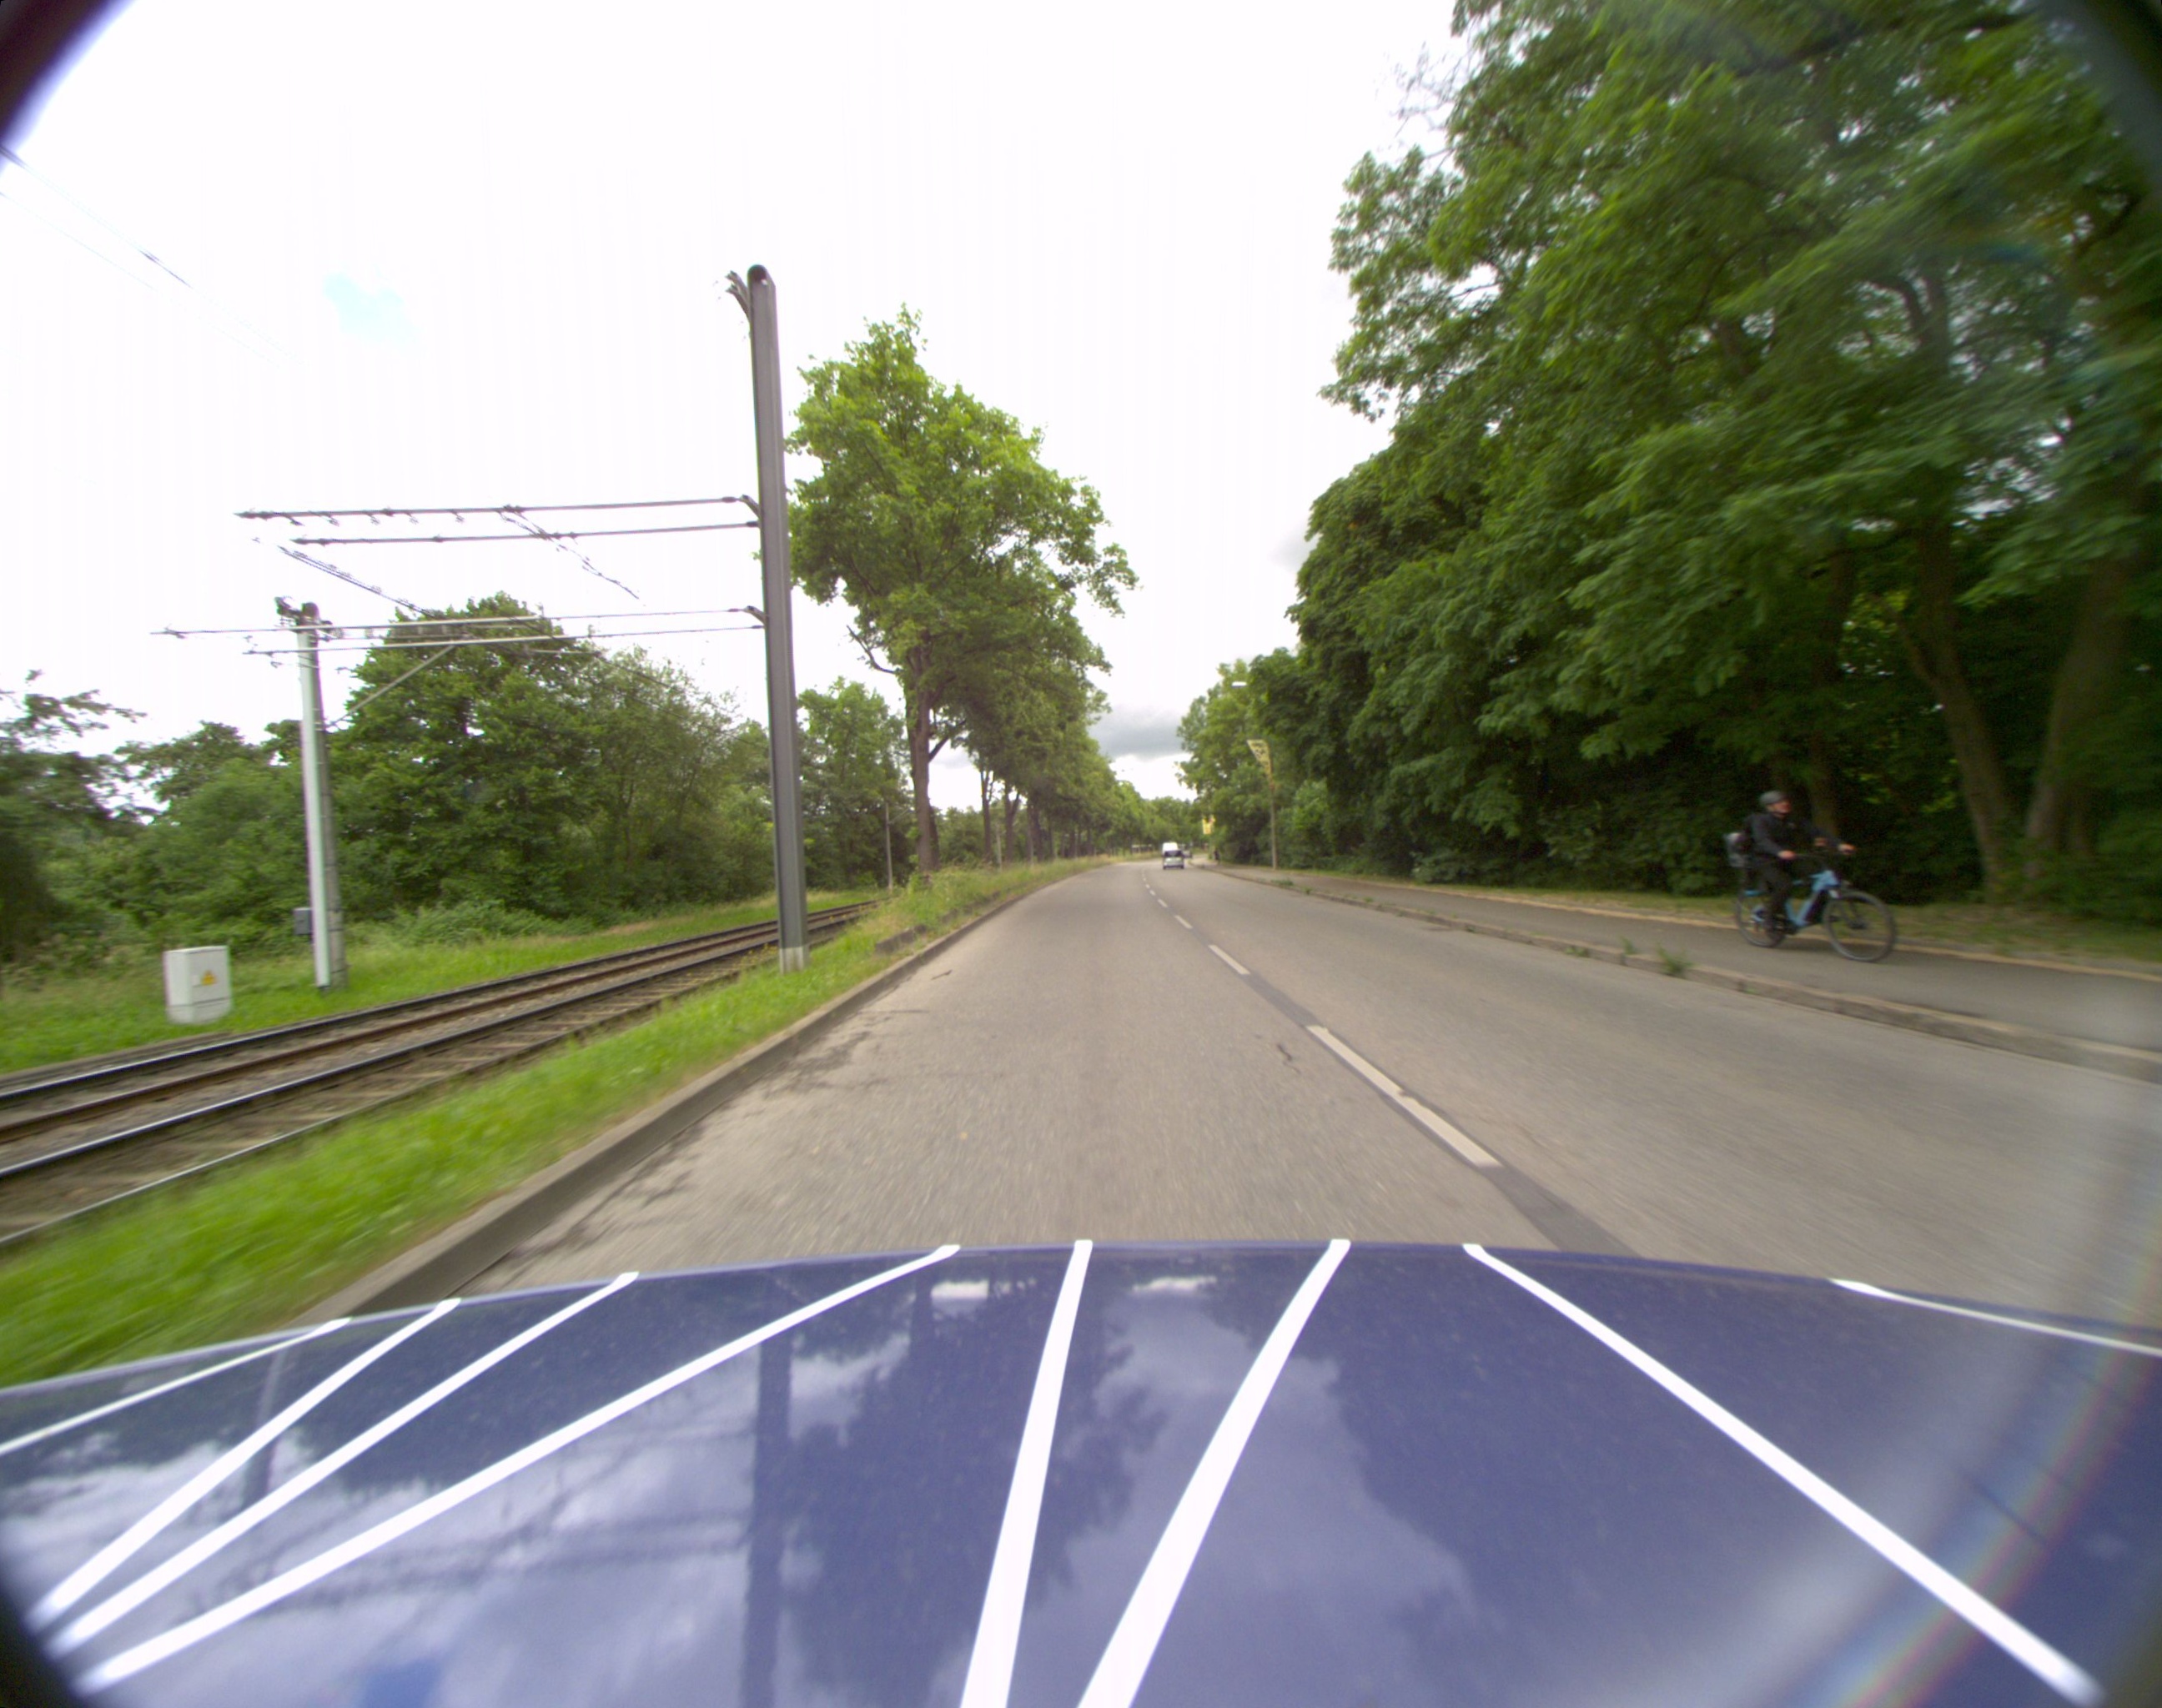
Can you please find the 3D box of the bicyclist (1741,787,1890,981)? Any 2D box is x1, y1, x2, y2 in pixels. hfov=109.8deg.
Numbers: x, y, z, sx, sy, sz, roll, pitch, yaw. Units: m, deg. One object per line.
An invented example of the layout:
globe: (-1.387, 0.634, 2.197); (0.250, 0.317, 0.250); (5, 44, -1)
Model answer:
bicyclist: (7.870, 0.303, 8.181); (0.688, 1.937, 0.835); (-4, 1, -2)

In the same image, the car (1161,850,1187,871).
car: (8.335, 0.559, 68.402); (1.861, 1.788, 4.557); (-2, 0, 2)

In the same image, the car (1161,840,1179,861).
car: (11.218, -0.429, 95.952); (1.998, 2.611, 5.896); (-1, 0, 4)

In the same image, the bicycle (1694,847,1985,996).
bicycle: (7.911, 0.622, 8.134); (0.700, 1.324, 2.280); (-4, 0, -2)

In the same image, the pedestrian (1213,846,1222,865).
pedestrian: (13.020, 0.138, 72.360); (0.600, 1.704, 0.815); (-4, 0, 4)
